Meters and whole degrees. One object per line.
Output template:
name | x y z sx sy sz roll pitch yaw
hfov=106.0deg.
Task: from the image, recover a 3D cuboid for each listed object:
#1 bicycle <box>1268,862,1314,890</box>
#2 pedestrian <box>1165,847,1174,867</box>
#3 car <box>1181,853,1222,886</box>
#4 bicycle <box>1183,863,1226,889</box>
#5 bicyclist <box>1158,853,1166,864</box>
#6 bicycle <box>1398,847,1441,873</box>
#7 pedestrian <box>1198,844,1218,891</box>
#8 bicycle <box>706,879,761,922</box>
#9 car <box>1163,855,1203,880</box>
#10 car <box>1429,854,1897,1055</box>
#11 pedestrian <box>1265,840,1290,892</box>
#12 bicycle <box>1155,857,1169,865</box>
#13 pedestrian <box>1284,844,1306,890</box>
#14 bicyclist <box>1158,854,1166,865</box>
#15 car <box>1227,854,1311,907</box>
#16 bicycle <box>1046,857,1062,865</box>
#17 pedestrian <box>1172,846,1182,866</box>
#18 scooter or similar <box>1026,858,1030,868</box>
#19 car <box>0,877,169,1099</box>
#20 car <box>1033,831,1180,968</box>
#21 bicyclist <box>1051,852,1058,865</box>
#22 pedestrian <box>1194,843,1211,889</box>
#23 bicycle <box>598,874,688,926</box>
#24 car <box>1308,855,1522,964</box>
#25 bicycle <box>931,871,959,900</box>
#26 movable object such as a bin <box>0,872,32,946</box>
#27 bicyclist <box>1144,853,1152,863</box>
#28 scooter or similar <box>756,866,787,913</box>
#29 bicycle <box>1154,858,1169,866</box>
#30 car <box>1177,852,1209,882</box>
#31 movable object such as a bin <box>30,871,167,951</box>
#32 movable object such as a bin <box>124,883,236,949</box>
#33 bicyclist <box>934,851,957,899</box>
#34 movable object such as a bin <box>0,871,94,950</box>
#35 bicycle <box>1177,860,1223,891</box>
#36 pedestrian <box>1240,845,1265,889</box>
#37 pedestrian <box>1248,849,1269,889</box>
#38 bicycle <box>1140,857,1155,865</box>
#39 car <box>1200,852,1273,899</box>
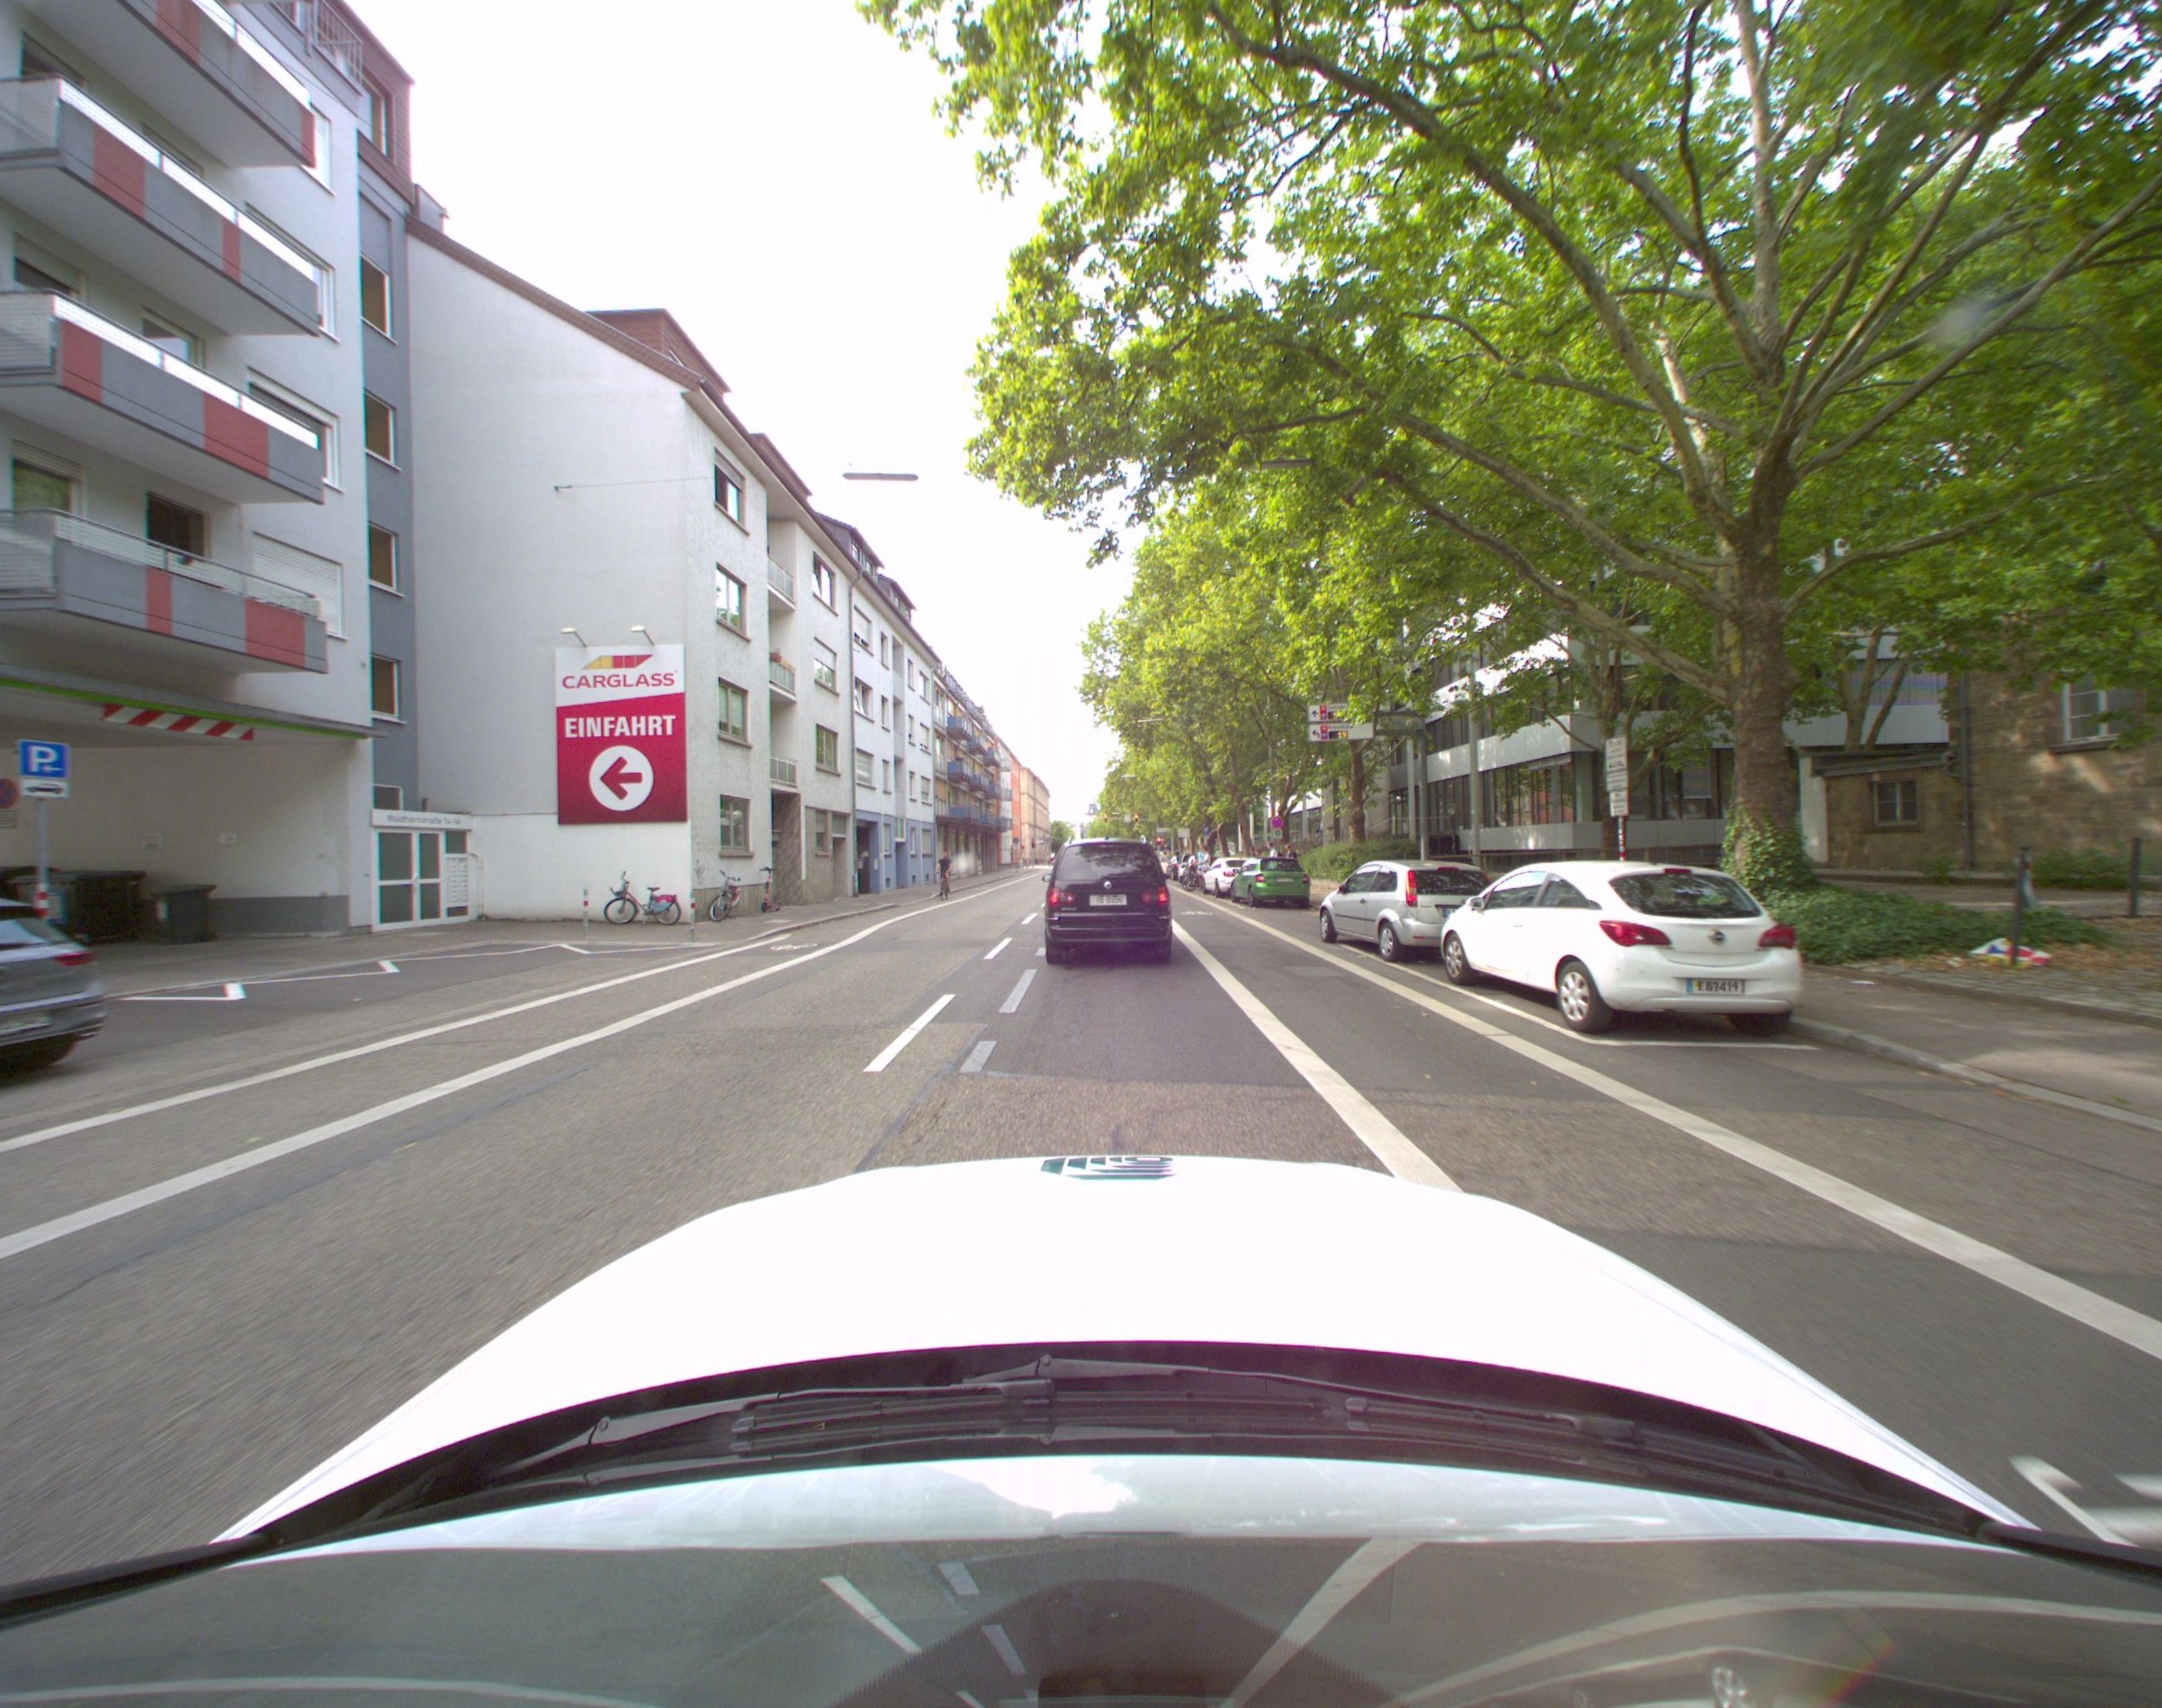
bicycle | 8.522 0.887 33.071 1.767 1.132 0.461 0 0 -11
pedestrian | 8.337 0.266 76.646 0.708 1.783 1.033 -3 -1 0
car | 5.758 0.711 39.139 1.522 1.502 3.661 0 0 1
bicycle | 5.225 0.924 34.539 1.735 1.105 0.550 0 0 -10
bicyclist | 11.206 0.586 112.812 0.915 1.466 0.568 0 0 -12
bicycle | 15.152 0.265 36.472 1.671 1.117 0.603 -2 0 -6
pedestrian | 5.128 0.541 32.930 0.520 1.845 0.741 0 0 -14
bicycle | -8.371 1.101 19.678 0.595 0.950 1.663 0 0 1
car | 5.984 0.753 48.176 1.693 1.425 4.419 0 0 -1
car | 5.163 0.735 8.074 1.747 1.447 4.220 0 0 2
pedestrian | 7.736 0.465 32.052 0.790 1.997 0.750 0 0 1
bicycle | 11.227 0.950 112.820 1.926 1.028 0.581 0 0 -12
pedestrian | 8.579 0.515 32.643 0.718 1.855 0.704 0 0 1
bicyclist | 10.972 0.732 110.191 0.914 1.466 0.568 0 0 -10
car | 5.556 0.738 24.508 1.582 1.450 3.804 1 0 -1
bicycle | -3.432 0.934 104.007 1.923 1.028 0.582 0 0 -8
pedestrian | 9.070 0.189 76.641 0.712 1.800 1.033 -3 -1 0
scooter or similar | -6.367 1.113 98.198 0.377 1.144 1.141 -1 -2 -2
car | -9.691 0.939 5.884 4.135 1.513 1.838 1 0 1
car | 0.356 0.584 12.814 1.867 1.745 4.573 -1 0 0
bicyclist | -3.417 0.556 104.015 0.854 1.567 0.576 0 -1 -7
pedestrian | 5.109 0.507 34.266 0.475 1.934 0.742 0 0 -10
bicycle | -9.756 1.019 18.154 1.765 1.117 0.453 0 0 0
car | 5.027 0.748 12.870 1.639 1.447 3.878 0 0 -3
bicycle | -5.284 1.219 31.774 0.644 1.014 2.077 -2 0 1
movable object such as a bin | -20.516 1.038 14.918 1.038 1.352 1.179 -2 0 4
bicyclist | 9.155 0.540 111.399 0.914 1.466 0.568 0 0 -9
scooter or similar | -8.493 0.959 22.386 0.348 1.221 1.202 0 0 1
bicycle | 10.929 1.066 110.187 1.924 1.028 0.581 0 0 -9
car | 5.963 0.686 43.699 1.529 1.543 2.602 0 0 4
movable object such as a bin | -17.951 1.013 14.921 1.038 1.352 1.179 -2 0 4
movable object such as a bin | -16.471 1.119 14.912 0.940 1.106 0.976 -2 0 4
bicyclist | -5.290 0.820 31.886 0.649 1.811 1.046 -2 -1 1
movable object such as a bin | -19.308 1.025 14.899 1.038 1.352 1.179 -2 0 4
bicycle | 4.853 0.860 33.203 1.793 1.217 0.550 0 0 -17
pedestrian | 7.242 0.548 34.430 0.868 1.816 0.780 0 0 1
pedestrian | 7.343 0.614 33.651 0.718 1.658 0.655 0 0 1
bicycle | 9.139 0.996 111.415 1.924 1.028 0.581 0 0 -9
car | 5.511 0.723 29.431 1.675 1.516 4.542 1 0 -1
